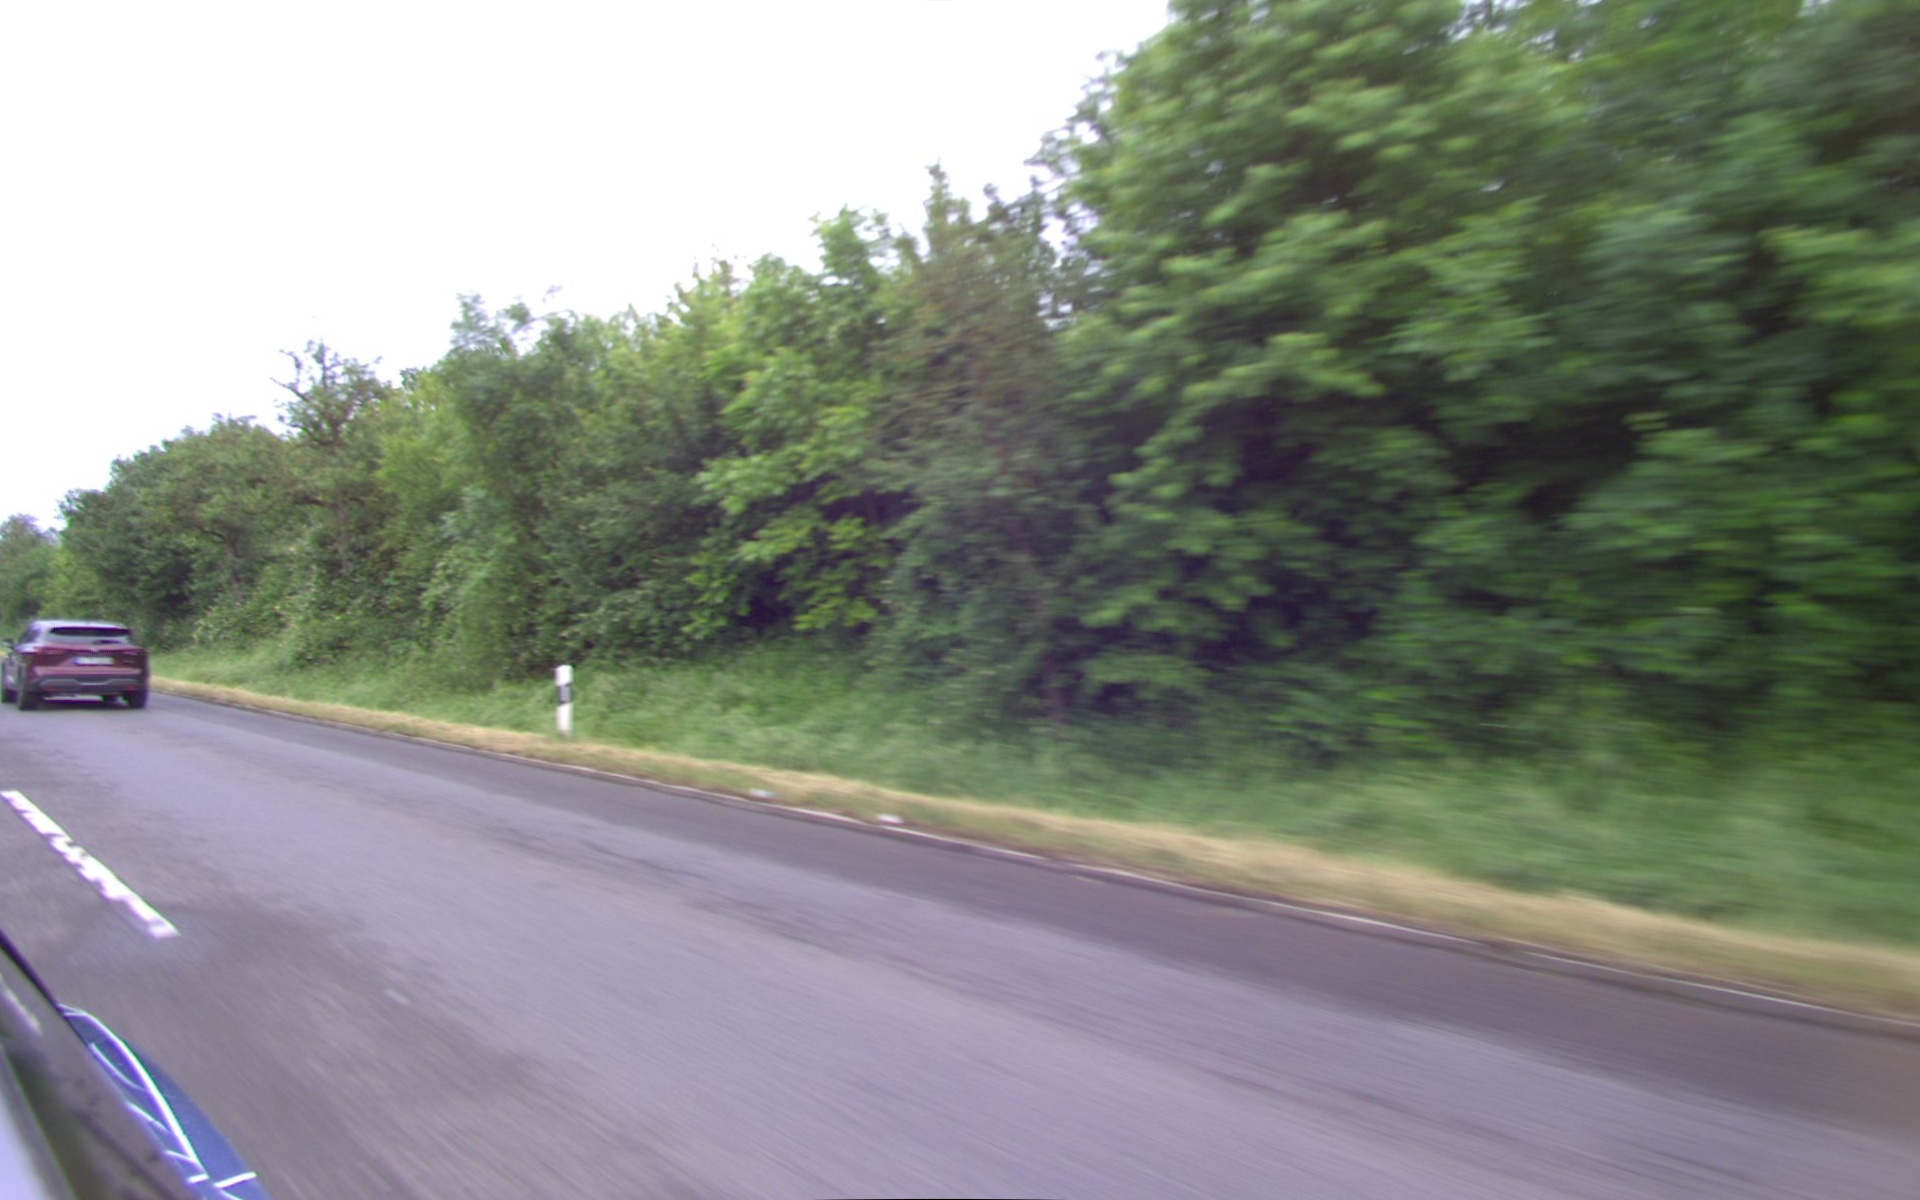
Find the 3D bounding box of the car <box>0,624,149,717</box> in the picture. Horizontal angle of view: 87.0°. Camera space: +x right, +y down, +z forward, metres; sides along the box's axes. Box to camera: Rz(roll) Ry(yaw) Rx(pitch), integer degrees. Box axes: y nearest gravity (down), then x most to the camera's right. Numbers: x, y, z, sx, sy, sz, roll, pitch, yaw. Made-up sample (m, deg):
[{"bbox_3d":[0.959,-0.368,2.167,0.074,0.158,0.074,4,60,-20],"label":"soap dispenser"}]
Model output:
[{"bbox_3d":[-17.054,1.251,19.273,4.516,1.568,1.884,-2,-3,43],"label":"car"}]
